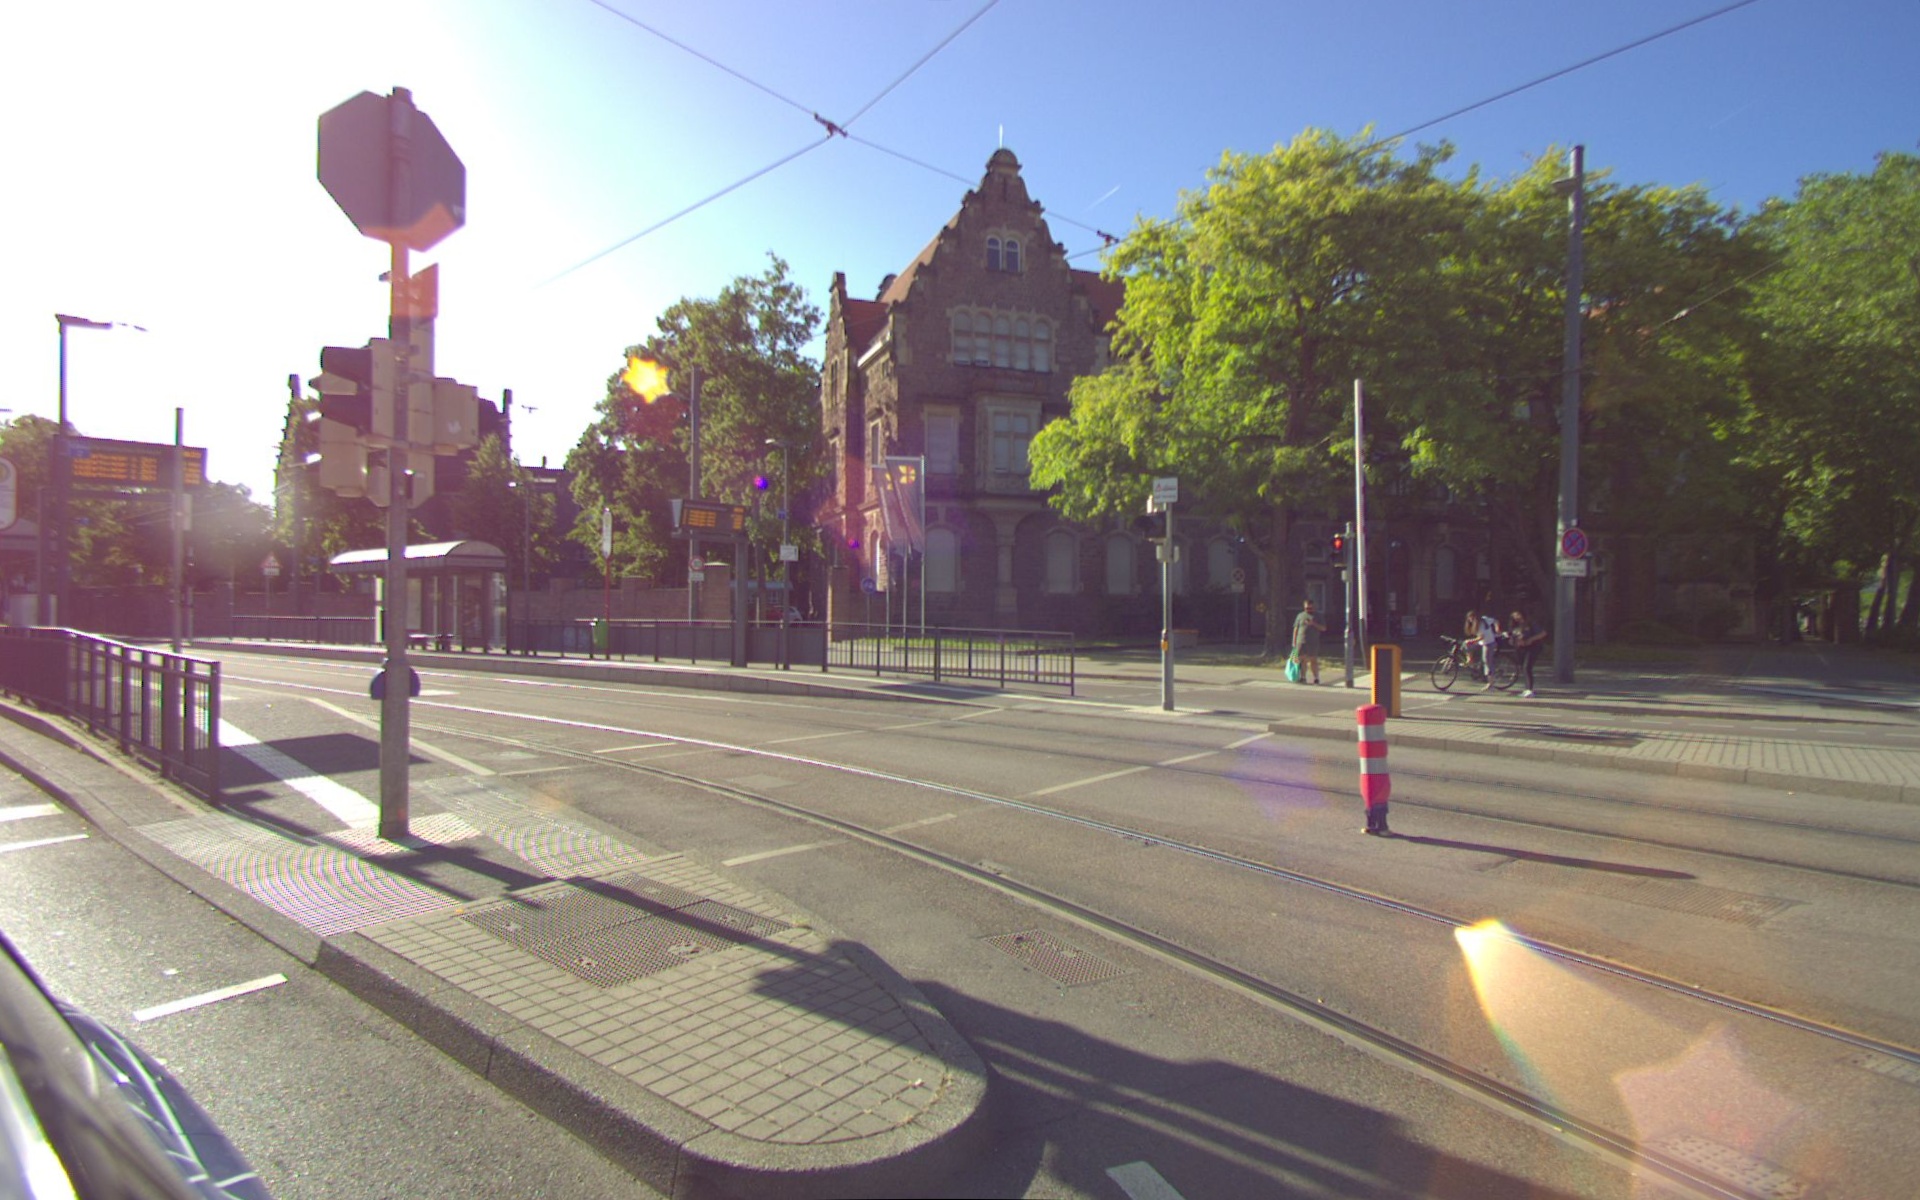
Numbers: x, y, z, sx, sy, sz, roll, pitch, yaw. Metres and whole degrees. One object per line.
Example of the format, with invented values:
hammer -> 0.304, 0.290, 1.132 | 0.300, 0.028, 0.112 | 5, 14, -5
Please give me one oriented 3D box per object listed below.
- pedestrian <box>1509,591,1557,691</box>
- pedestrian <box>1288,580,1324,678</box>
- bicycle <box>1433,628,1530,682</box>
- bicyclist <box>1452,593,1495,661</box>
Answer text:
pedestrian -> 10.243, 0.723, 18.102 | 0.664, 1.760, 0.483 | 0, -1, 19
pedestrian -> 7.117, 0.591, 20.839 | 0.693, 1.970, 0.483 | 0, -1, 19
bicycle -> 10.001, 1.041, 19.454 | 1.576, 1.004, 0.477 | 0, 0, 11
bicyclist -> 9.890, 0.518, 19.493 | 0.612, 1.294, 0.477 | 0, -1, 11
